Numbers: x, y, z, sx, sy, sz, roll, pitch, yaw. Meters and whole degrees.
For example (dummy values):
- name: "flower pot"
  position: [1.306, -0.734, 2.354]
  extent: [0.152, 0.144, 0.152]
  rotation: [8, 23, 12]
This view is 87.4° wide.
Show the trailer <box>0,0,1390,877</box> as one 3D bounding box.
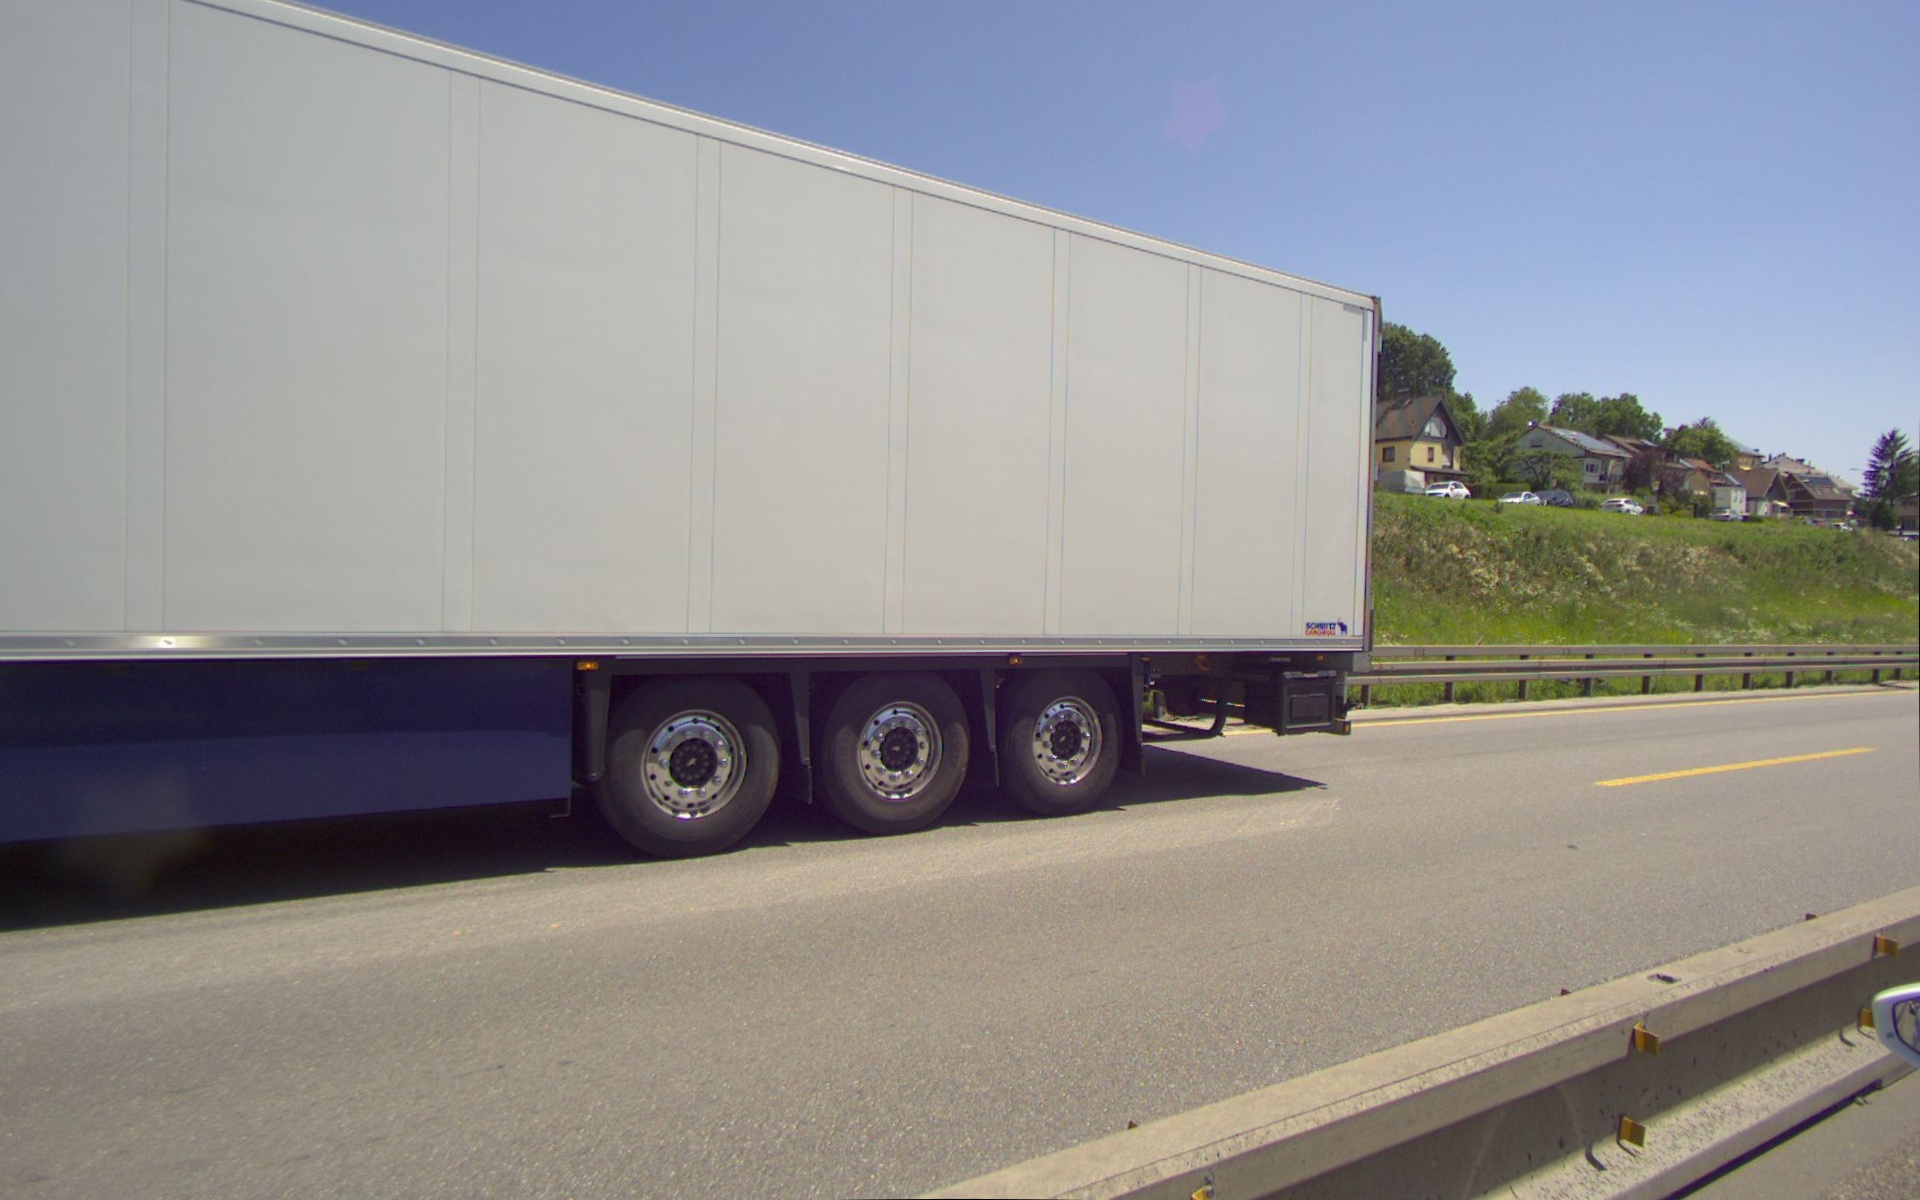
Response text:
- name: "trailer"
  position: [-2.989, -0.993, 6.289]
  extent: [13.252, 4.214, 3.204]
  rotation: [1, 0, -31]

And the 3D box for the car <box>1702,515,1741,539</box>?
- name: "car"
  position: [66.173, -6.289, 87.310]
  extent: [3.968, 1.751, 1.908]
  rotation: [1, 1, -41]

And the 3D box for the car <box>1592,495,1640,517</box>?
- name: "car"
  position: [49.882, -7.159, 76.338]
  extent: [3.969, 1.337, 1.976]
  rotation: [1, 4, -42]

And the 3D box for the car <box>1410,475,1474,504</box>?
- name: "car"
  position: [28.770, -6.607, 59.966]
  extent: [3.969, 1.337, 1.976]
  rotation: [1, 4, -42]
